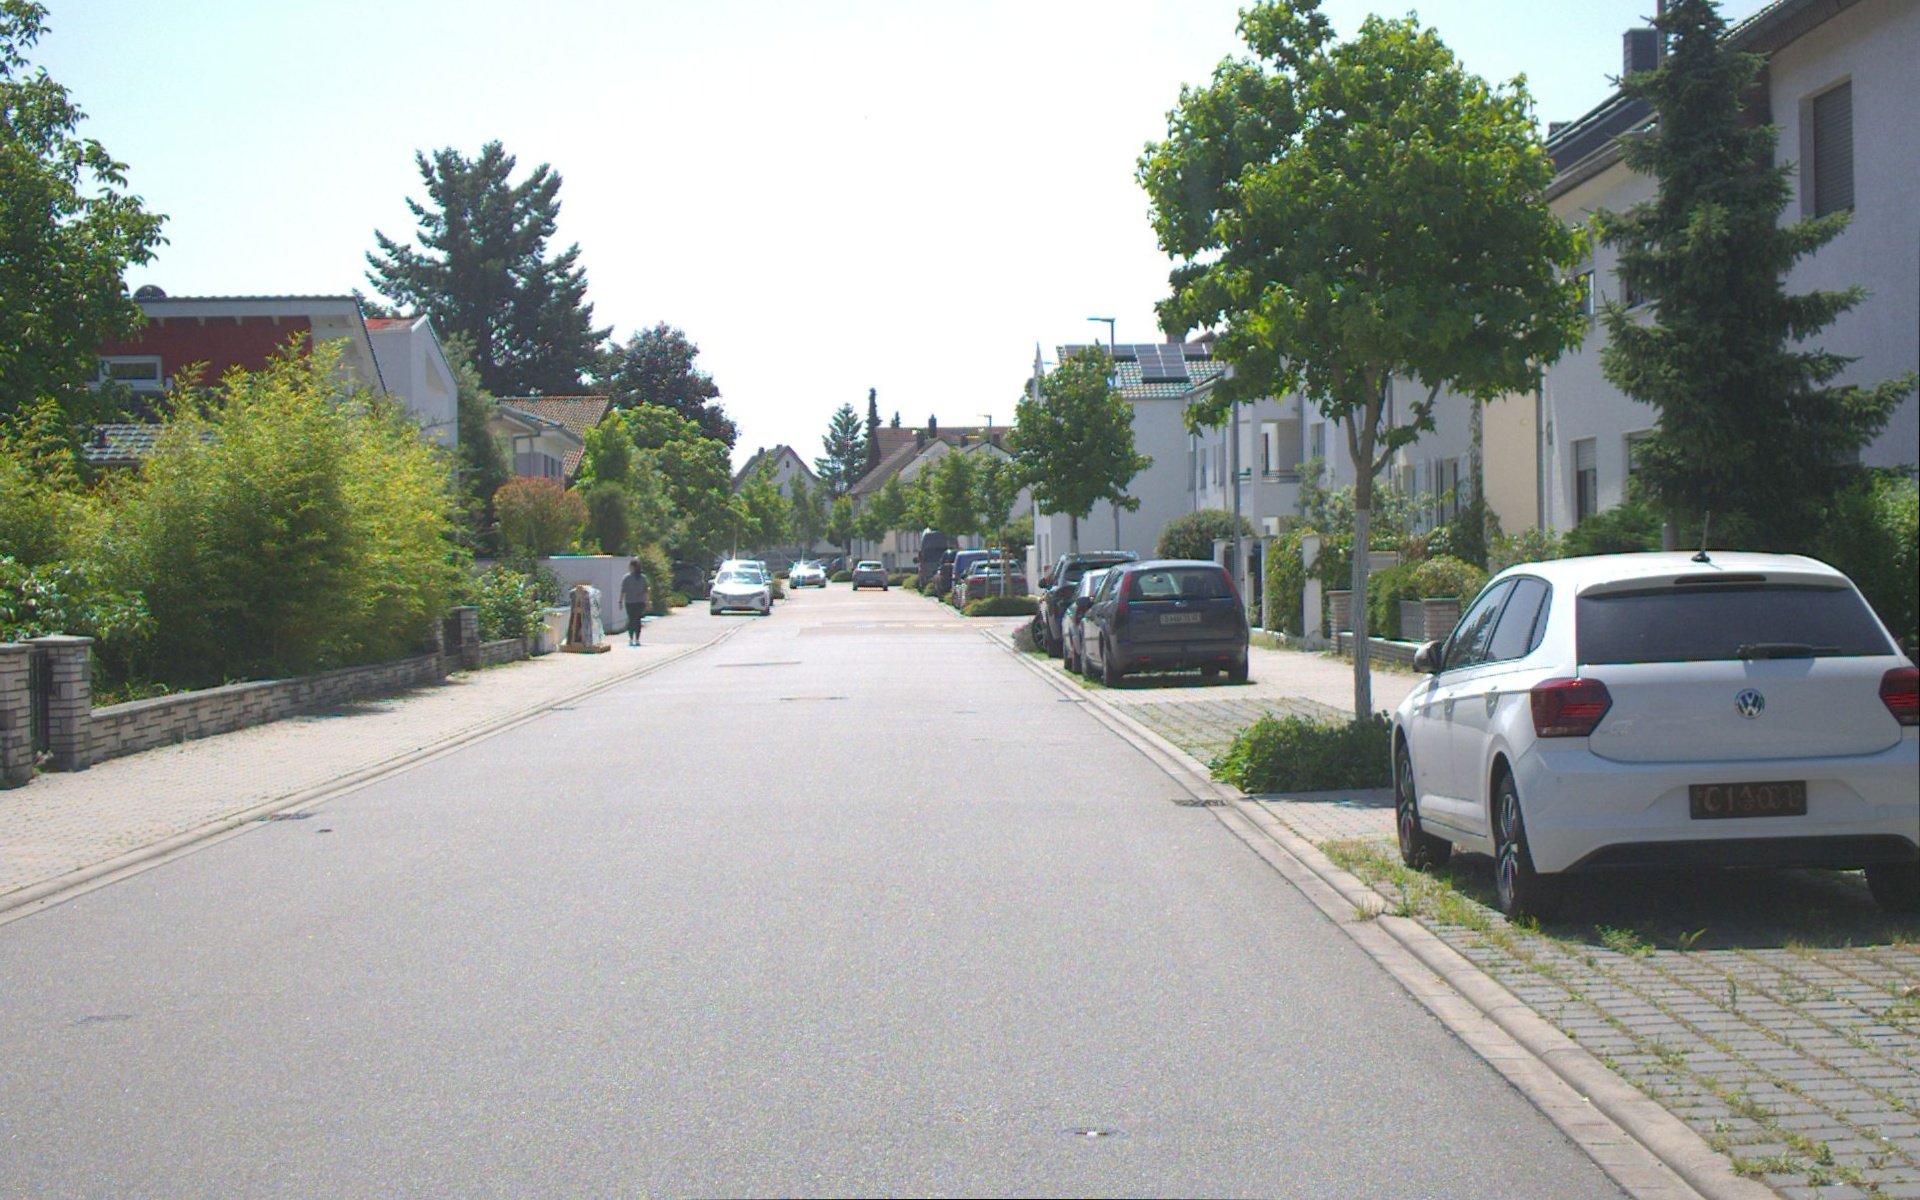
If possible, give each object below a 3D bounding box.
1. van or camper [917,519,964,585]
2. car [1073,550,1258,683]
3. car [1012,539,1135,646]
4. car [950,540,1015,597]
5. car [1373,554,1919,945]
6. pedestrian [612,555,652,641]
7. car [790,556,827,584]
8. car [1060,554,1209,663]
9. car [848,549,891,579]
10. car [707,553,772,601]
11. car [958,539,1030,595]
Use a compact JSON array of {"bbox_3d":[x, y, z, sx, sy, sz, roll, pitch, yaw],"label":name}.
[{"bbox_3d":[-0.920,-2.185,156.567,1.993,2.931,4.000,-1,1,-2],"label":"van or camper"},{"bbox_3d":[2.466,0.162,42.271,1.741,1.528,4.449,-1,1,-3],"label":"car"},{"bbox_3d":[1.855,-0.165,57.393,1.814,1.650,4.565,-1,1,-1],"label":"car"},{"bbox_3d":[0.737,-1.102,117.476,2.099,1.875,4.843,-1,1,0],"label":"car"},{"bbox_3d":[2.949,0.536,14.810,1.814,1.415,3.868,-1,1,-1],"label":"car"},{"bbox_3d":[-6.704,-0.043,70.239,0.714,1.741,0.961,-1,1,-1],"label":"pedestrian"},{"bbox_3d":[-8.430,-1.671,191.485,1.853,1.473,4.700,-1,1,0],"label":"car"},{"bbox_3d":[2.396,0.091,48.130,1.814,1.415,4.093,-1,1,-1],"label":"car"},{"bbox_3d":[-4.423,-1.774,168.608,1.993,1.425,4.000,-1,1,0],"label":"car"},{"bbox_3d":[-6.979,-0.753,109.200,1.852,1.483,4.385,-1,1,-1],"label":"car"},{"bbox_3d":[0.964,-0.970,100.832,1.773,1.590,4.280,-1,1,-4],"label":"car"}]
